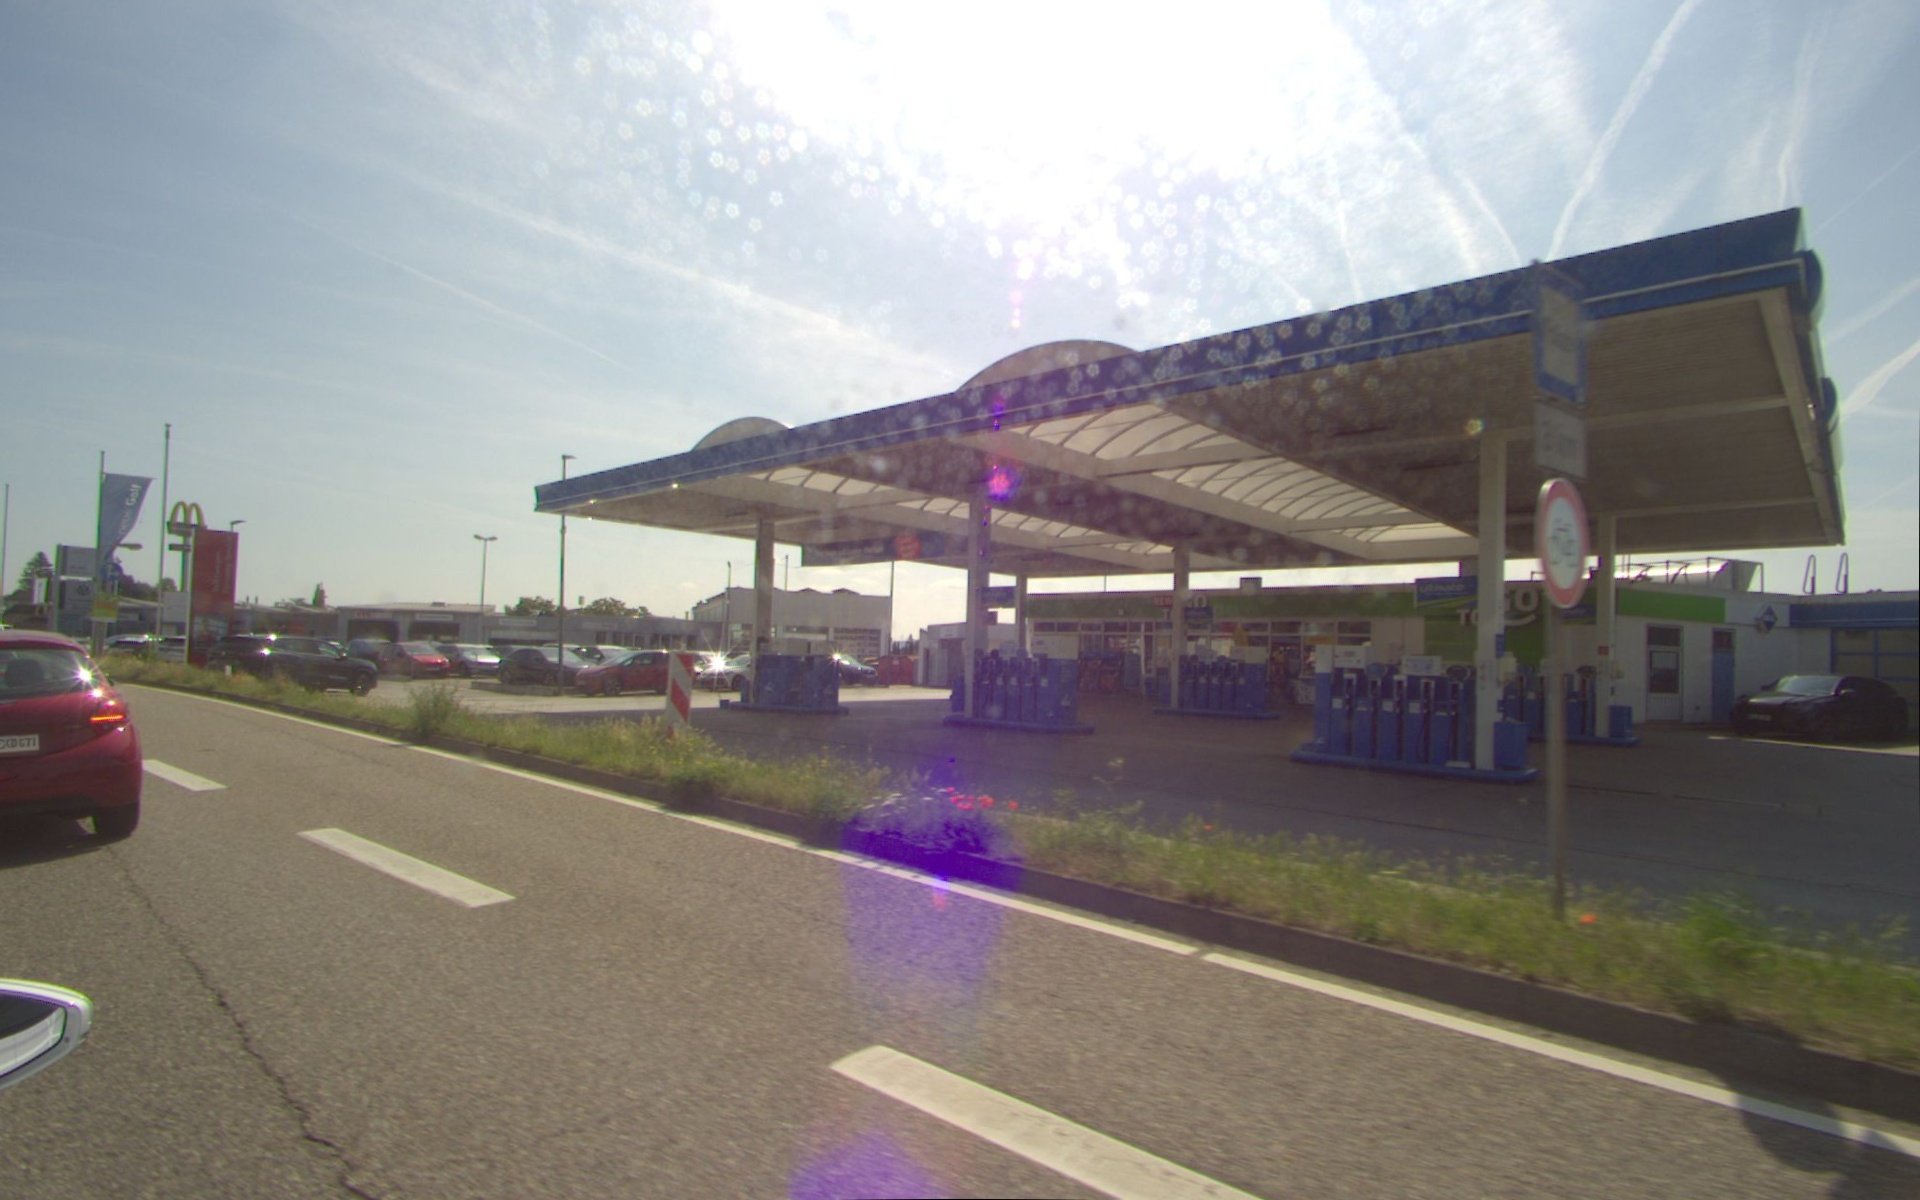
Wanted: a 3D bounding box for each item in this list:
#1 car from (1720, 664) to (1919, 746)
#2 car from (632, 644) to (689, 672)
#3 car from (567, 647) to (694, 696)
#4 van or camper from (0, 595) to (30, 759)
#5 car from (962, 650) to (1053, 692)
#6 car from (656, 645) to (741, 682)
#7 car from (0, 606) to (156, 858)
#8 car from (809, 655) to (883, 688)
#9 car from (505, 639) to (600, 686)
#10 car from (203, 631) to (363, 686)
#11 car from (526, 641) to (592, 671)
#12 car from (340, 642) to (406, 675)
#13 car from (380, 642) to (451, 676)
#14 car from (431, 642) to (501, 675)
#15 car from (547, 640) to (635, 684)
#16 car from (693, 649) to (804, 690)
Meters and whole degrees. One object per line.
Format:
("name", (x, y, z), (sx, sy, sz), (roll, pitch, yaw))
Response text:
("car", (22.138, 2.688, 25.718), (4.655, 1.847, 1.900), (4, -4, -19))
("car", (-16.316, 3.126, 54.448), (1.547, 1.427, 3.655), (1, -2, -42))
("car", (-11.622, 2.496, 35.431), (1.787, 1.592, 3.885), (-1, -3, 42))
("van or camper", (-12.978, 0.844, 12.216), (5.072, 1.809, 1.740), (-1, -3, 40))
("car", (2.070, 3.002, 42.536), (1.734, 1.658, 3.969), (-1, -3, 42))
("car", (-11.406, 2.717, 43.550), (3.813, 1.461, 1.608), (-1, -1, 38))
("car", (-7.502, 0.856, 7.450), (3.672, 1.592, 1.792), (-1, -2, 42))
("car", (-5.558, 3.461, 48.837), (3.551, 1.427, 1.552), (-1, -1, 38))
("car", (-15.228, 2.289, 37.364), (3.813, 1.615, 1.608), (-1, -1, 38))
("car", (-18.919, 1.586, 28.165), (1.534, 1.427, 3.593), (0, -1, 15))
("car", (-20.592, 2.847, 51.401), (3.643, 1.427, 1.552), (-1, -1, 38))
("car", (-27.852, 2.760, 47.494), (3.551, 1.427, 1.552), (-1, -1, 38))
("car", (-24.303, 2.599, 44.657), (3.551, 1.427, 1.552), (-1, -1, 38))
("car", (-22.942, 2.685, 46.435), (3.551, 1.427, 1.552), (-1, -1, 38))
("car", (-14.732, 2.442, 39.894), (3.813, 1.615, 1.552), (-1, -1, 38))
("car", (-8.292, 2.750, 39.602), (1.544, 1.513, 4.315), (-1, -3, 38))
